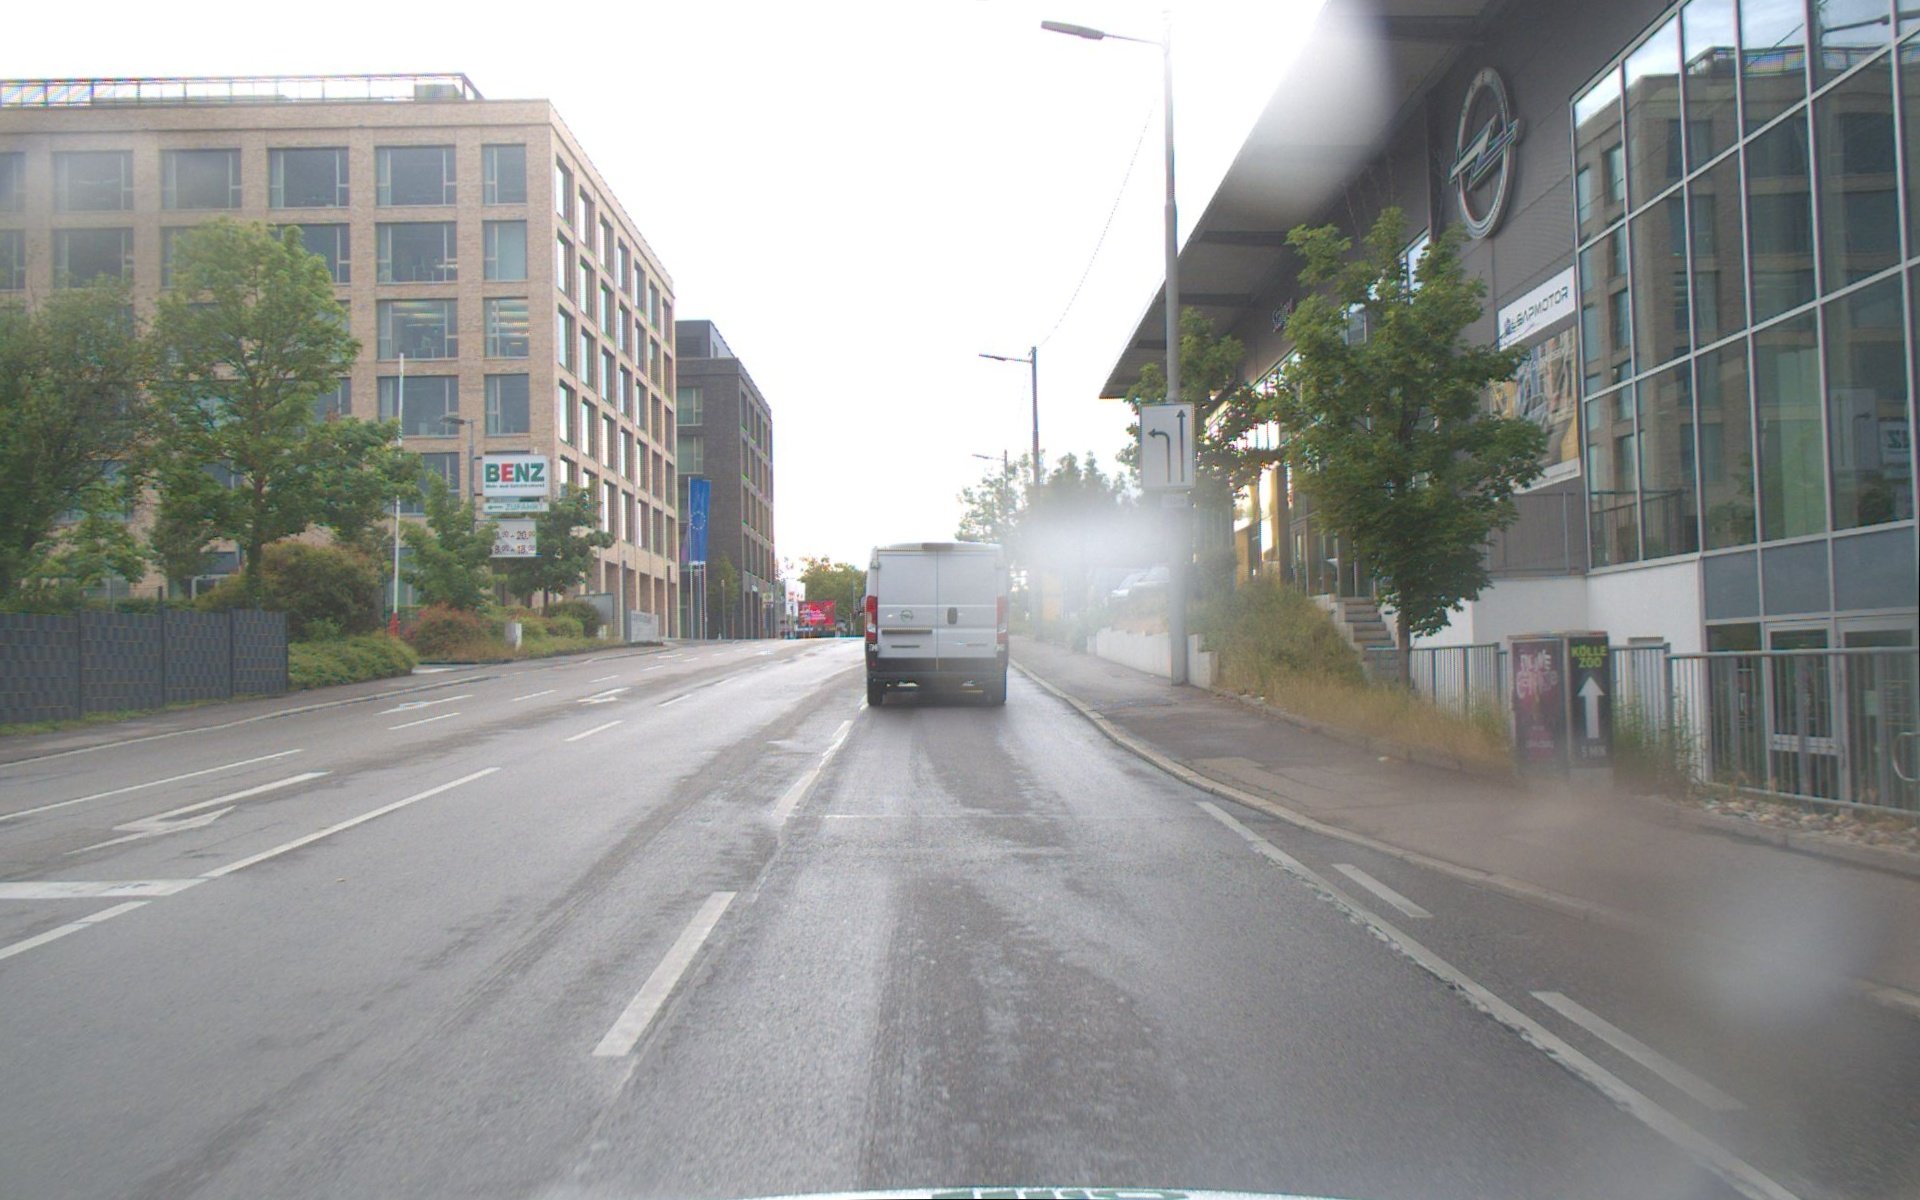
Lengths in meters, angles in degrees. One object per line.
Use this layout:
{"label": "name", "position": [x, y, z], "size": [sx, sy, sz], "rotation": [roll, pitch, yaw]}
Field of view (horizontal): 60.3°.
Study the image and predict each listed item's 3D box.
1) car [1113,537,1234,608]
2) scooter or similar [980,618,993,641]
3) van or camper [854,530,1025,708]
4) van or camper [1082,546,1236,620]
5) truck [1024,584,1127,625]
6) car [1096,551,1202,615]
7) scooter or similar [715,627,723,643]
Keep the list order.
{"label": "car", "position": [5.850, -0.711, 44.880], "size": [1.954, 1.740, 4.425], "rotation": [-3, -1, 25]}
{"label": "scooter or similar", "position": [1.940, 2.138, 120.813], "size": [0.428, 1.615, 1.264], "rotation": [0, 0, -23]}
{"label": "van or camper", "position": [-0.273, 0.249, 24.879], "size": [2.292, 2.398, 5.199], "rotation": [0, 0, 0]}
{"label": "van or camper", "position": [7.611, -0.642, 63.712], "size": [5.620, 2.771, 2.351], "rotation": [0, 0, -1]}
{"label": "truck", "position": [5.881, 0.231, 84.547], "size": [5.045, 2.049, 2.344], "rotation": [0, 0, -3]}
{"label": "car", "position": [5.726, -0.498, 49.667], "size": [1.953, 1.740, 4.577], "rotation": [-3, -1, 22]}
{"label": "scooter or similar", "position": [-16.399, 2.396, 112.595], "size": [0.343, 1.090, 1.428], "rotation": [0, -2, 0]}
